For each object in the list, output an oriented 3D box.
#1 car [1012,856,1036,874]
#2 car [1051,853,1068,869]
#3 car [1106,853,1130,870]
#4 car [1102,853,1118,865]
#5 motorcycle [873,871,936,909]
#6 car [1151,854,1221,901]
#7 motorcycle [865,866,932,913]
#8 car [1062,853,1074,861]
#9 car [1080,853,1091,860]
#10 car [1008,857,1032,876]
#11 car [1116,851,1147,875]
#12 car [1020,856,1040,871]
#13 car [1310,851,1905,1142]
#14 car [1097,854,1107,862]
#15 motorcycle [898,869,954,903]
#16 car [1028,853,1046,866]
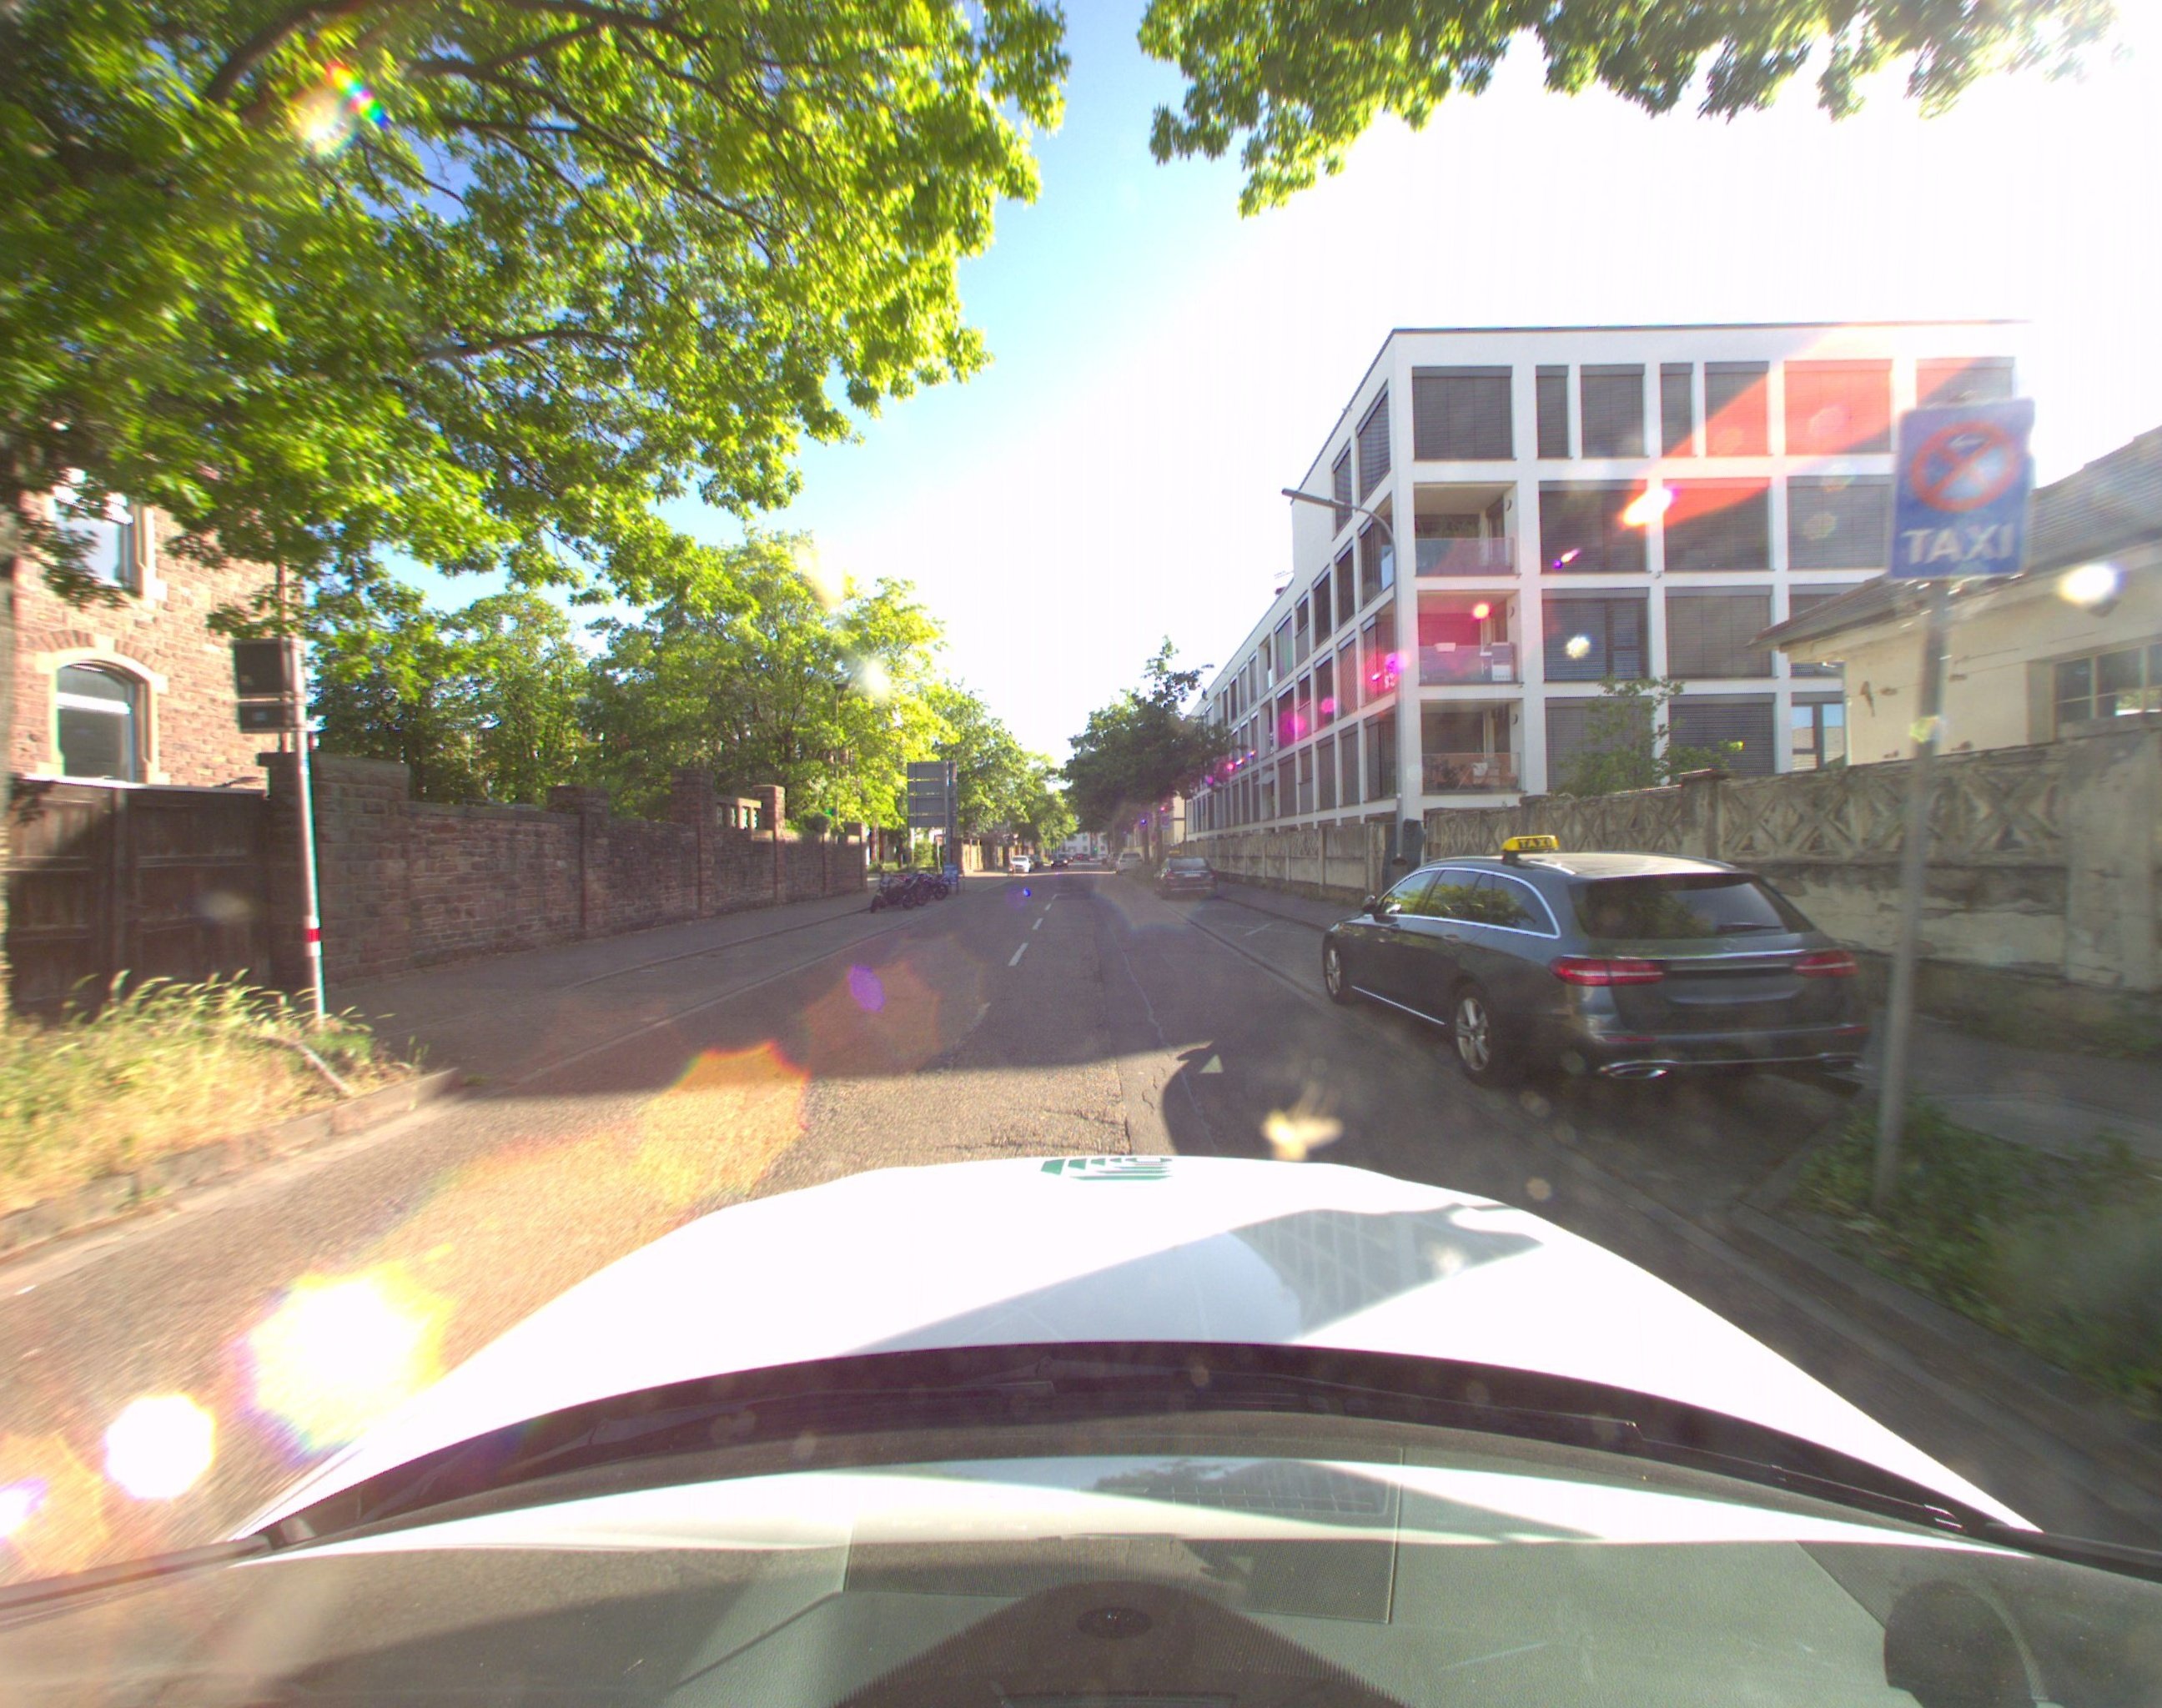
[{"bbox_3d":[-5.164,0.994,74.649,1.901,1.530,3.999,-1,0,0],"label":"car"},{"bbox_3d":[-2.219,0.713,85.292,1.648,1.530,3.999,-1,0,0],"label":"car"},{"bbox_3d":[3.263,0.633,72.529,1.986,1.465,3.837,-1,0,1],"label":"car"},{"bbox_3d":[3.629,0.658,103.386,1.986,1.425,3.837,-1,0,1],"label":"car"},{"bbox_3d":[-5.531,1.113,25.613,0.570,1.074,2.135,-1,0,33],"label":"motorcycle"},{"bbox_3d":[3.510,0.754,27.881,1.762,1.440,3.998,-1,0,-1],"label":"car"},{"bbox_3d":[-5.405,1.036,24.242,0.570,1.276,2.135,-1,0,33],"label":"motorcycle"},{"bbox_3d":[-2.304,0.566,145.995,1.986,1.453,4.001,-1,0,1],"label":"car"},{"bbox_3d":[0.864,0.478,151.956,1.882,1.400,3.837,-1,0,1],"label":"car"},{"bbox_3d":[-5.106,1.023,68.777,1.762,1.487,3.998,-1,0,-1],"label":"car"},{"bbox_3d":[3.465,0.633,56.686,1.943,1.578,3.837,-1,0,1],"label":"car"},{"bbox_3d":[-5.418,0.991,86.819,1.901,1.530,3.999,-1,0,0],"label":"car"},{"bbox_3d":[3.377,0.724,6.569,1.698,1.468,4.788,-1,0,0],"label":"car"},{"bbox_3d":[3.496,0.685,137.678,1.580,1.400,3.837,-1,0,1],"label":"car"},{"bbox_3d":[-5.409,1.109,28.516,0.570,1.074,2.135,-1,0,33],"label":"motorcycle"},{"bbox_3d":[-5.405,0.683,99.883,1.901,1.530,3.999,-1,0,0],"label":"car"}]
